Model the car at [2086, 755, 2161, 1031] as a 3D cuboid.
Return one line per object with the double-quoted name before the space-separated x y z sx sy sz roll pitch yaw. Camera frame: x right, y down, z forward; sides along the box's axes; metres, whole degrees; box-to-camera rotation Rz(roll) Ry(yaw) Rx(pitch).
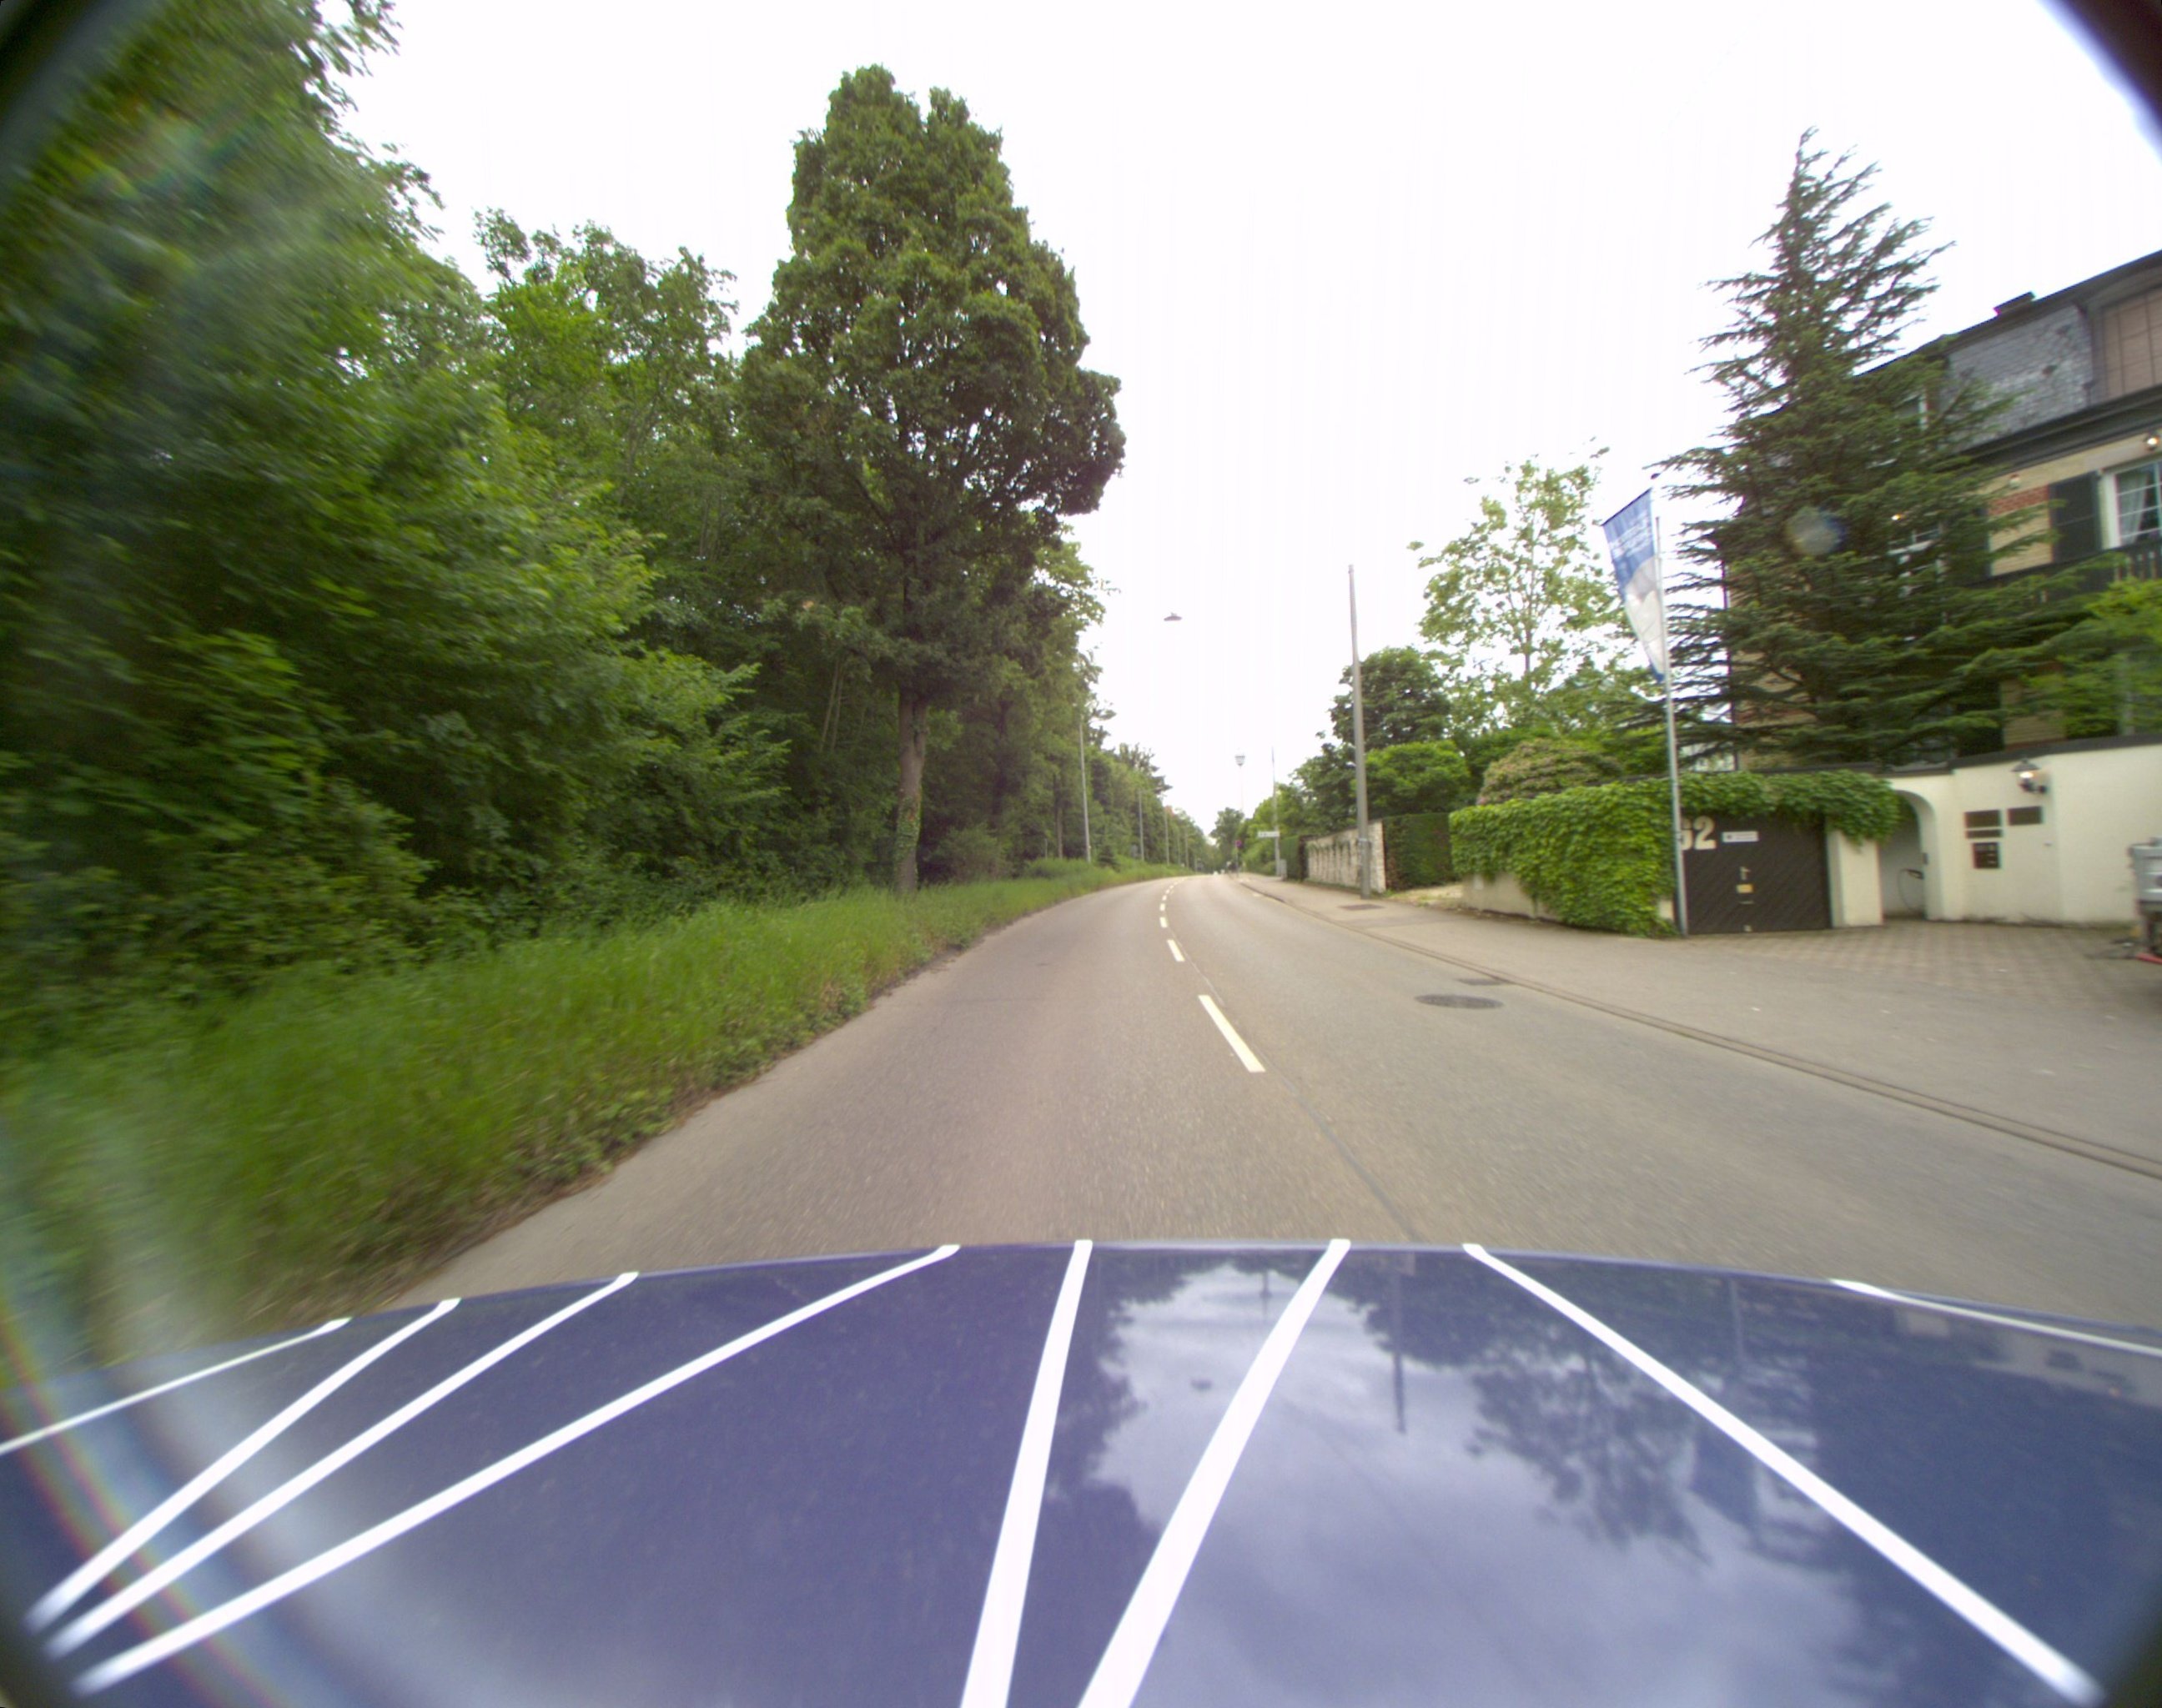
"car" 10.352 0.179 4.340 2.430 2.060 5.349 -3 0 -33
